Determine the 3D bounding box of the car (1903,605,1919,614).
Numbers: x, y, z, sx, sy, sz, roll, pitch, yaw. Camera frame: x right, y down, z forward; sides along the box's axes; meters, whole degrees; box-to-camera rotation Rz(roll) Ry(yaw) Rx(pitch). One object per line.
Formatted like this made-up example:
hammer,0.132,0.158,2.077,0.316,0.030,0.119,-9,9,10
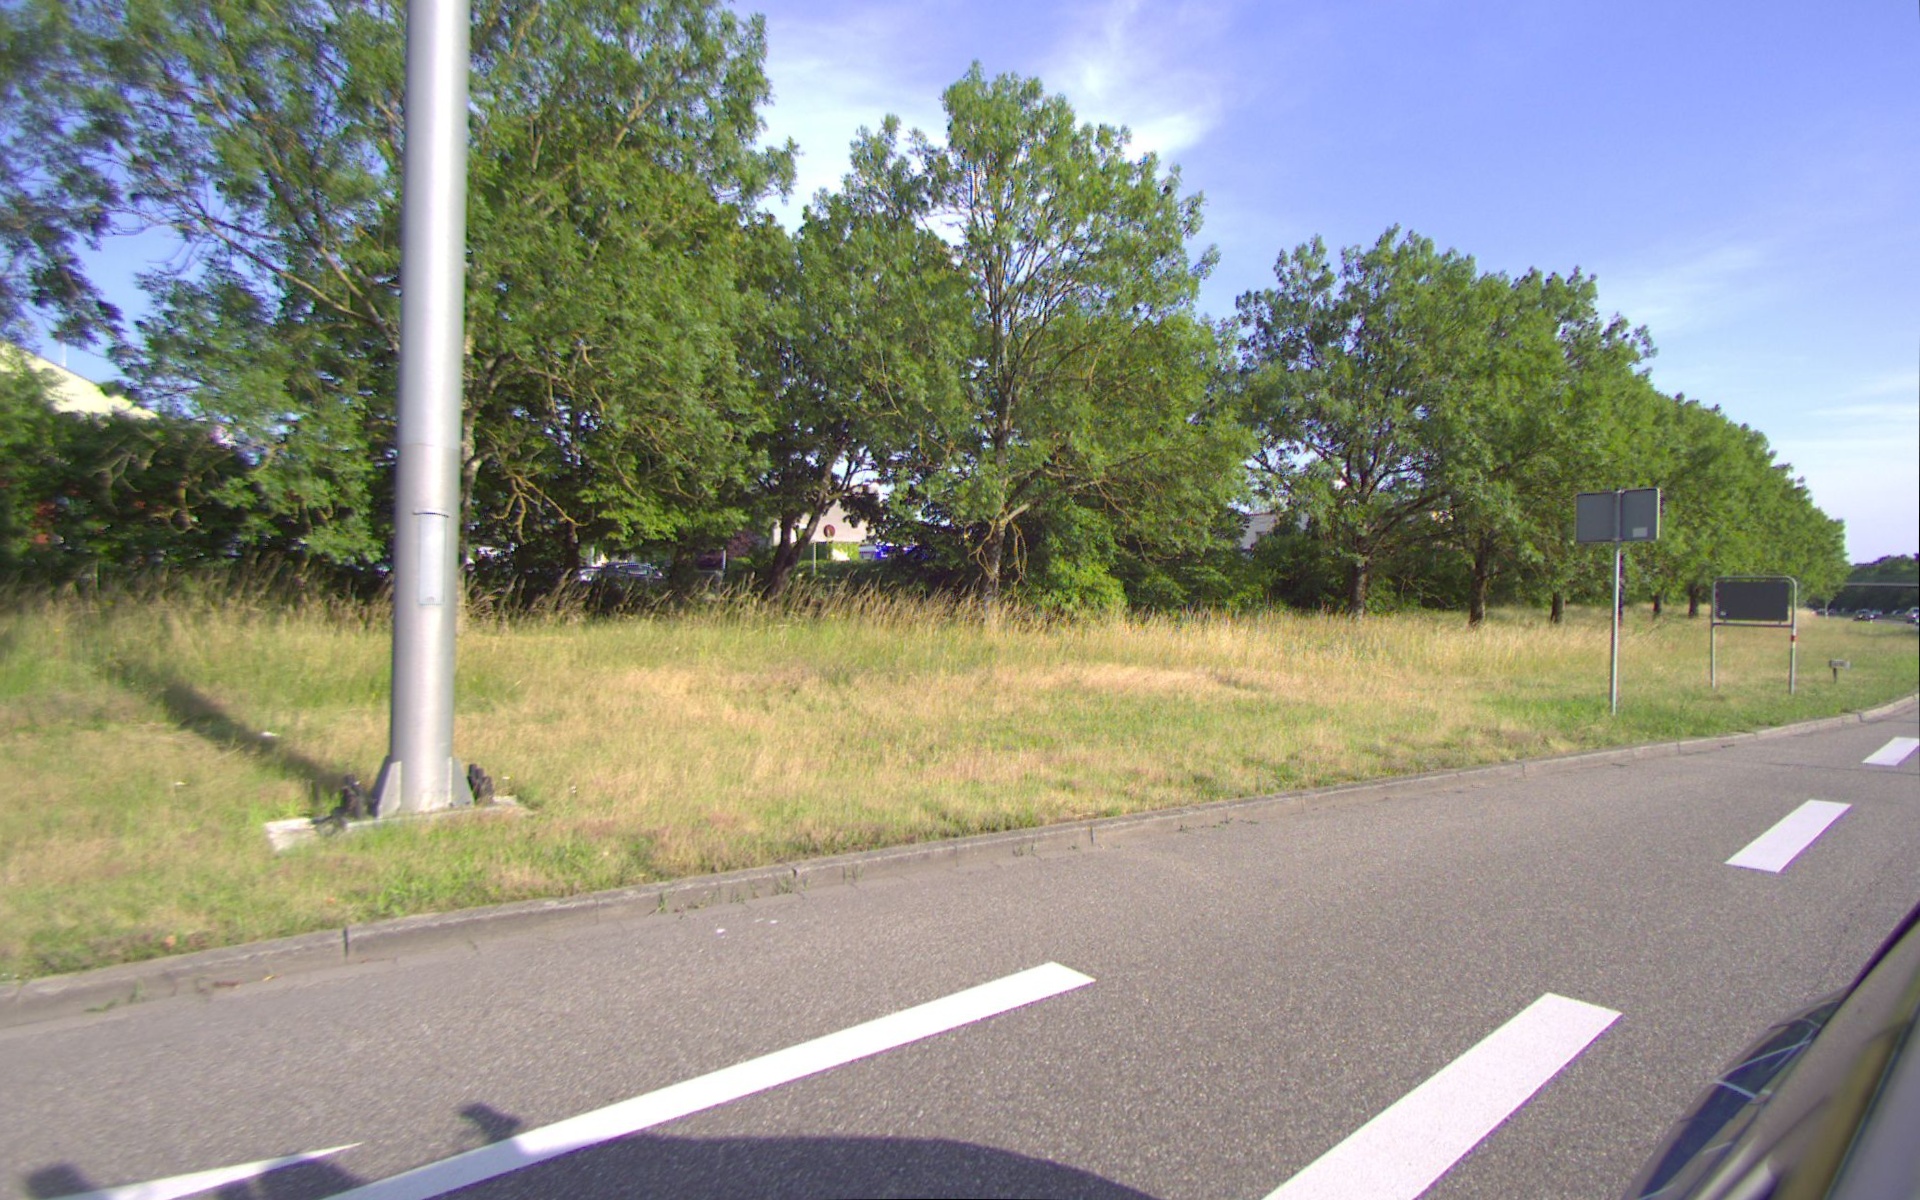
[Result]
car,161.807,1.568,172.044,1.598,1.459,4.147,0,0,36

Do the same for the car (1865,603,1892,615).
car,118.493,1.154,130.574,1.889,1.403,4.303,0,0,33
